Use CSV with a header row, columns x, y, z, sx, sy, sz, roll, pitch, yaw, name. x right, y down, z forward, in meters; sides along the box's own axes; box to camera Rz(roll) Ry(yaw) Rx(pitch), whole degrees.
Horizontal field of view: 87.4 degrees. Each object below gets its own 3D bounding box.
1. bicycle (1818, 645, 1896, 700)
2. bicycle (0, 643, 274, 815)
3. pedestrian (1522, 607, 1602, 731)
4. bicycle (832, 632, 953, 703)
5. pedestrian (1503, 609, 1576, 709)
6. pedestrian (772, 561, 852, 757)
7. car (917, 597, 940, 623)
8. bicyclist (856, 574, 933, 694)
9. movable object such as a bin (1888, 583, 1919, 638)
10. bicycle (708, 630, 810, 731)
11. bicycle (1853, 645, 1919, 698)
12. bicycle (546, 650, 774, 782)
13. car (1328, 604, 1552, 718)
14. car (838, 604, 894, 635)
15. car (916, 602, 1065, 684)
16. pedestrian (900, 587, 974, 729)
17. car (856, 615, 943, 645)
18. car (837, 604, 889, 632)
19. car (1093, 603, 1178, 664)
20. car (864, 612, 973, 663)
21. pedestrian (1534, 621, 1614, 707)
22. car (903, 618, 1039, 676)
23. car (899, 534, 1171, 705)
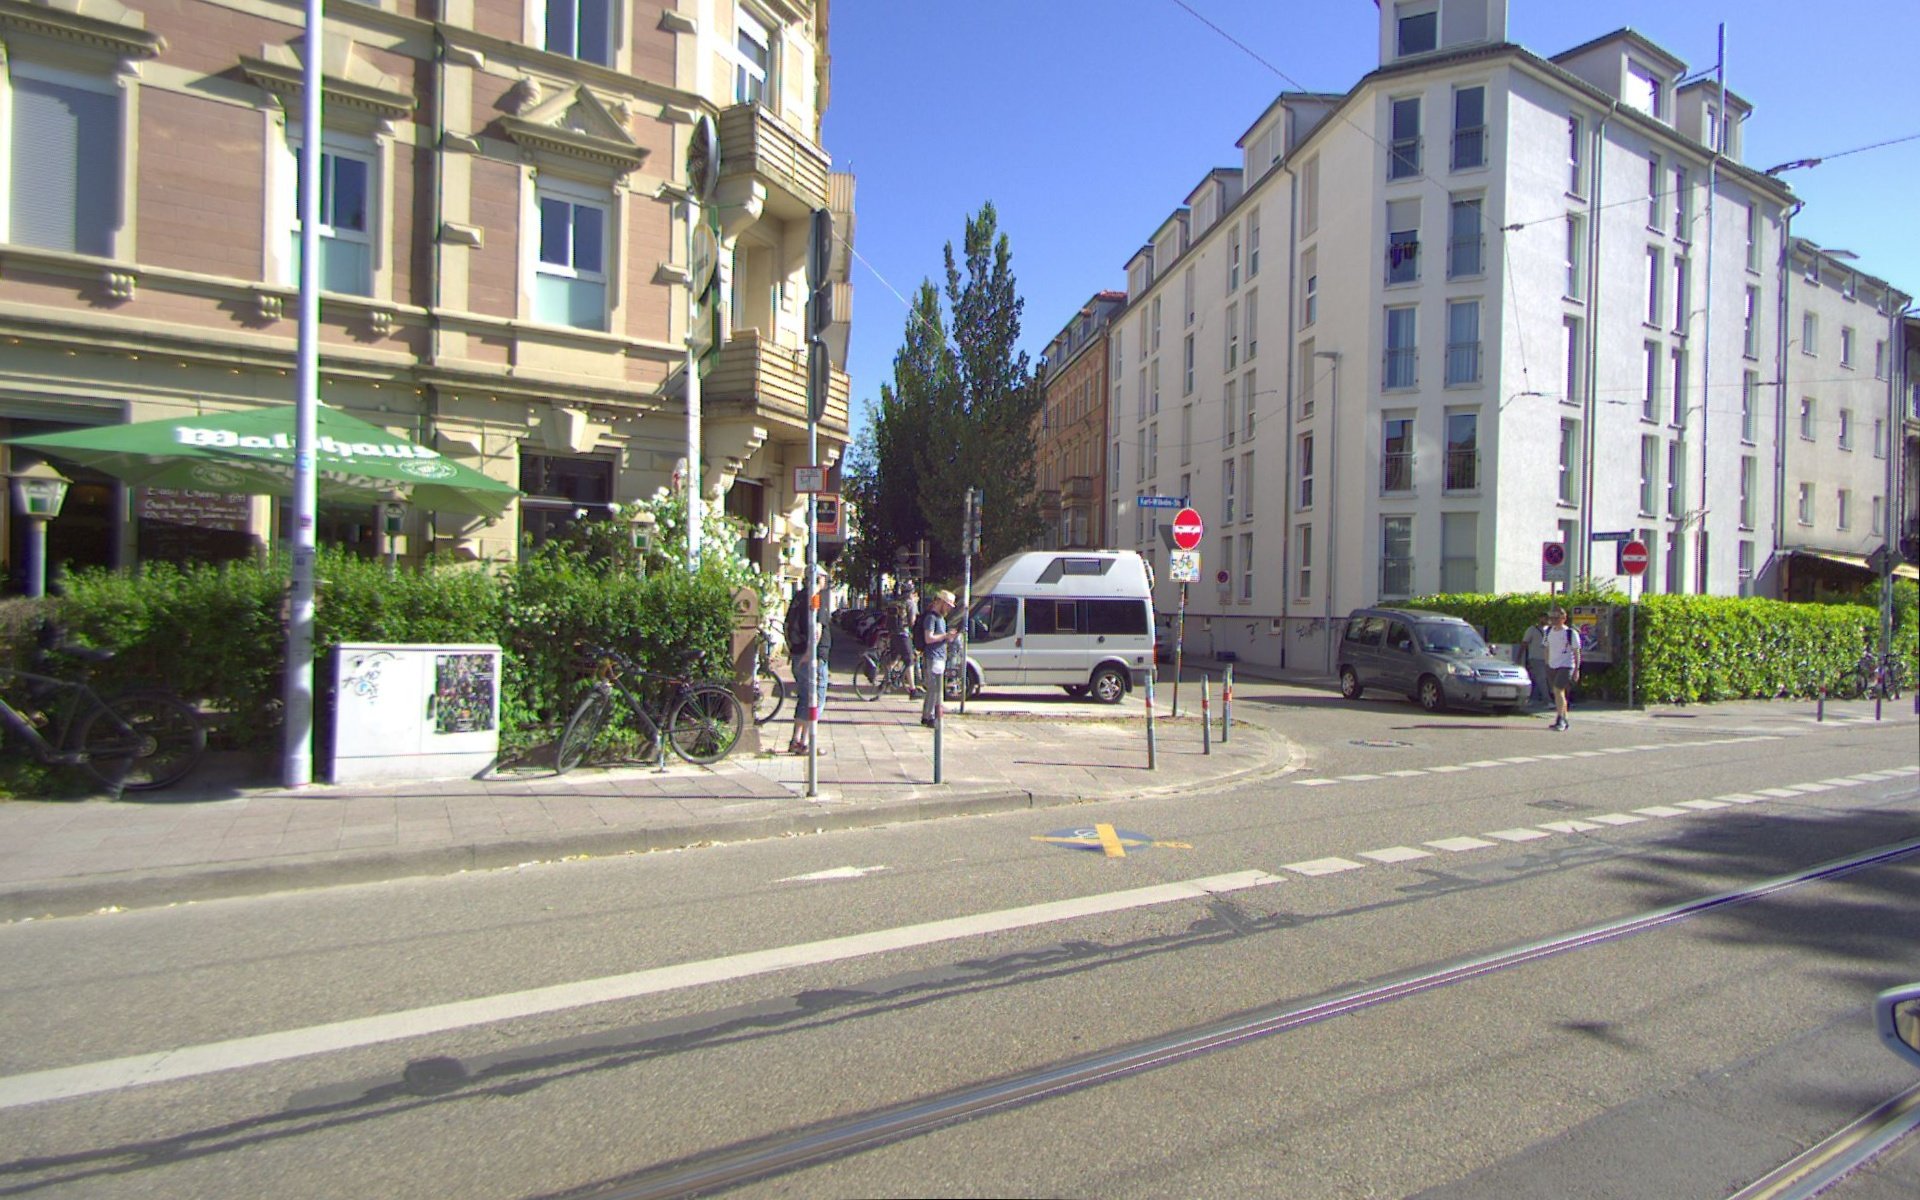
x,y,z,sx,sy,sz,roll,pitch,yaw,name
19.449,1.569,21.766,1.818,1.104,0.658,2,2,-30,bicycle
-5.892,0.821,6.624,2.197,1.052,0.511,2,0,-30,bicycle
9.037,1.012,15.080,0.856,1.791,0.688,1,0,-30,pedestrian
-1.083,1.095,16.257,1.814,1.069,0.701,3,-1,-30,bicycle
10.512,1.050,18.248,0.743,1.737,0.806,2,1,-11,pedestrian
-1.416,0.548,9.604,0.533,1.805,0.553,2,0,-33,pedestrian
-3.167,0.988,99.786,1.782,2.449,3.994,2,-1,-9,car
-1.069,0.549,16.264,0.974,1.878,0.701,3,-1,-30,bicyclist
26.007,0.295,27.326,1.244,1.476,0.802,1,-1,-32,movable object such as a bin
-2.497,0.940,12.267,0.862,1.058,2.237,3,-1,-20,bicycle
21.073,1.622,22.747,1.818,1.104,0.658,2,2,-30,bicycle
-2.503,0.934,8.467,1.757,0.994,0.524,1,0,-30,bicycle
8.746,1.059,18.729,1.759,1.831,4.048,2,-1,-9,car
-6.922,1.445,74.108,3.928,2.040,1.997,2,-1,-9,car
0.702,1.010,23.979,3.284,1.775,1.450,3,-1,-11,car
-0.268,0.706,12.450,0.816,1.676,0.707,2,-1,2,pedestrian
-2.750,1.353,45.326,3.788,1.202,1.390,3,-1,-9,car
-7.672,1.444,79.189,3.928,2.040,1.997,2,-1,-9,car
6.251,1.177,36.215,1.782,2.006,3.994,2,-1,-9,car
-1.436,1.264,34.282,3.548,1.574,1.390,3,-1,-9,car
11.245,1.159,18.428,0.743,1.497,0.955,2,1,-11,pedestrian
0.273,1.281,27.808,3.529,1.419,1.573,3,-1,-9,car
1.366,0.406,18.950,4.702,2.878,1.888,3,-1,-13,car
